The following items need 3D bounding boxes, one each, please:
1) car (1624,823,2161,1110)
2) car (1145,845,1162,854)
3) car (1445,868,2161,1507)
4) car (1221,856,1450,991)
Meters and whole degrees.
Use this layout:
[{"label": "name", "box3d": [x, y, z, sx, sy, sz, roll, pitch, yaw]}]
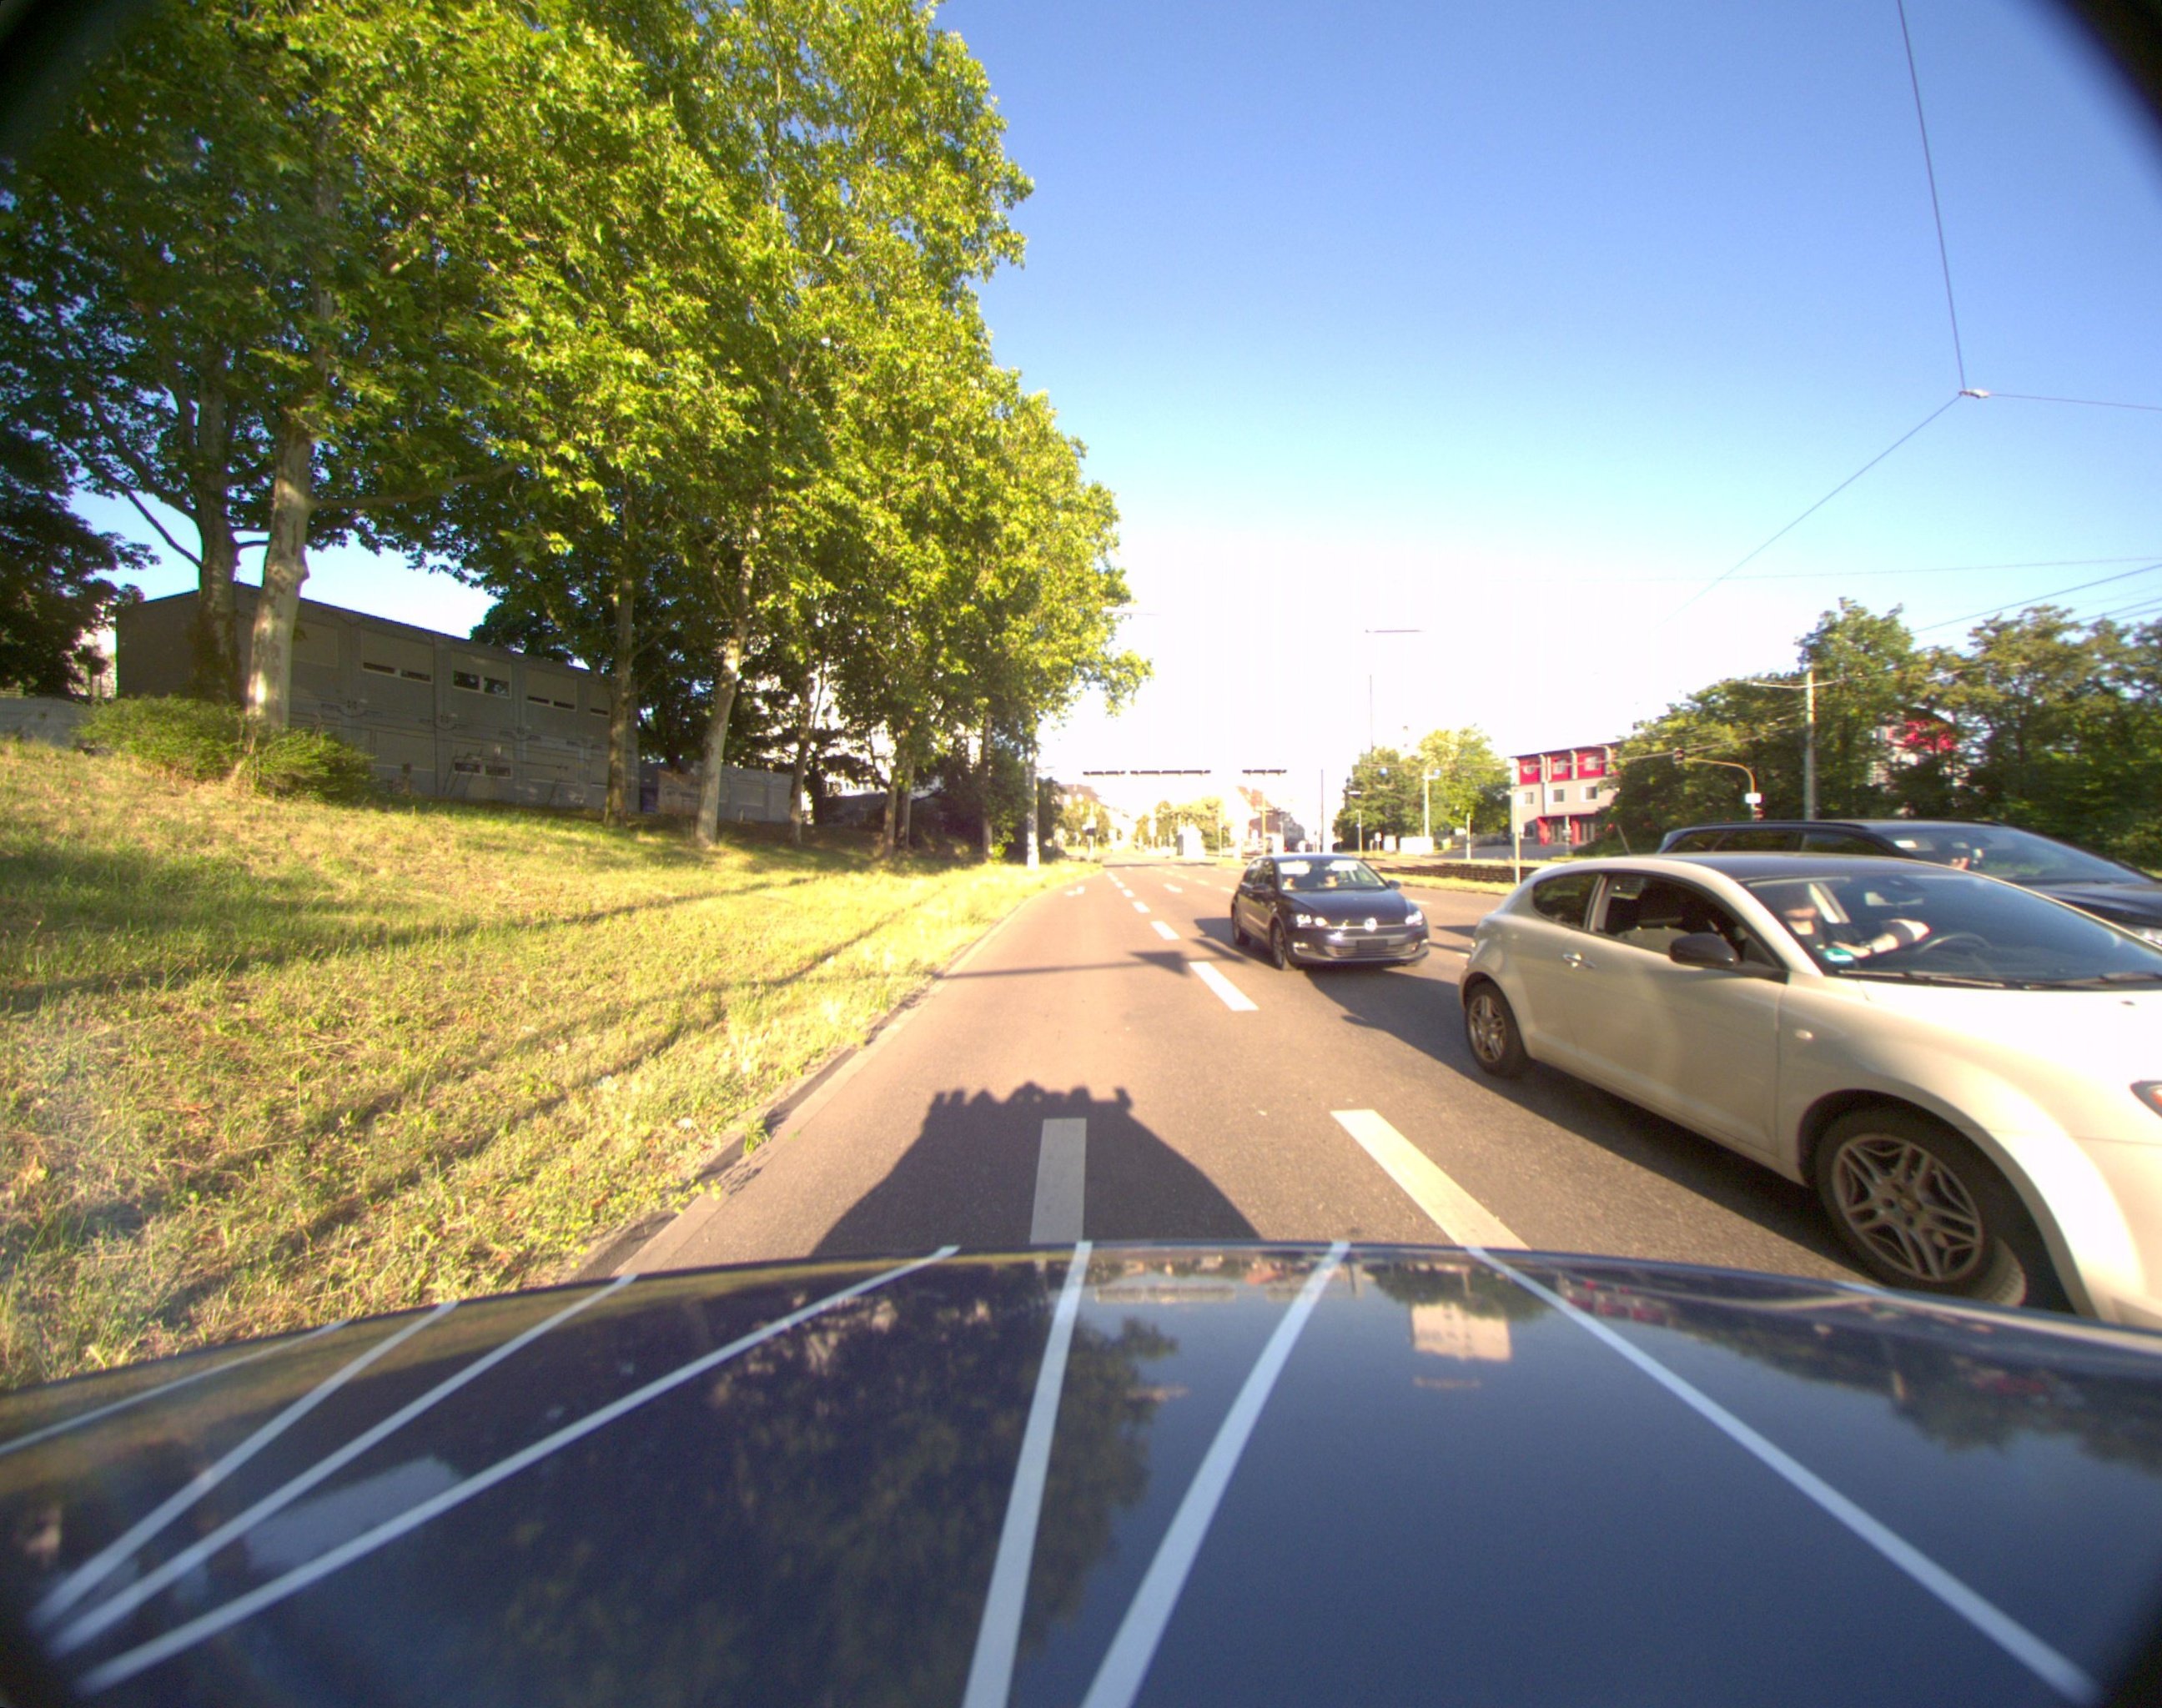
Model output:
[{"label": "car", "box3d": [7.230, 0.606, 6.571, 1.920, 1.639, 4.602, -1, 0, 2]}, {"label": "car", "box3d": [15.670, -0.896, 164.247, 1.995, 1.807, 4.007, -2, 1, 31]}, {"label": "car", "box3d": [3.424, 0.842, 3.403, 1.665, 1.422, 3.923, -2, 0, -1]}, {"label": "car", "box3d": [3.205, 0.788, 10.448, 1.782, 1.422, 3.923, -2, 0, -1]}]
